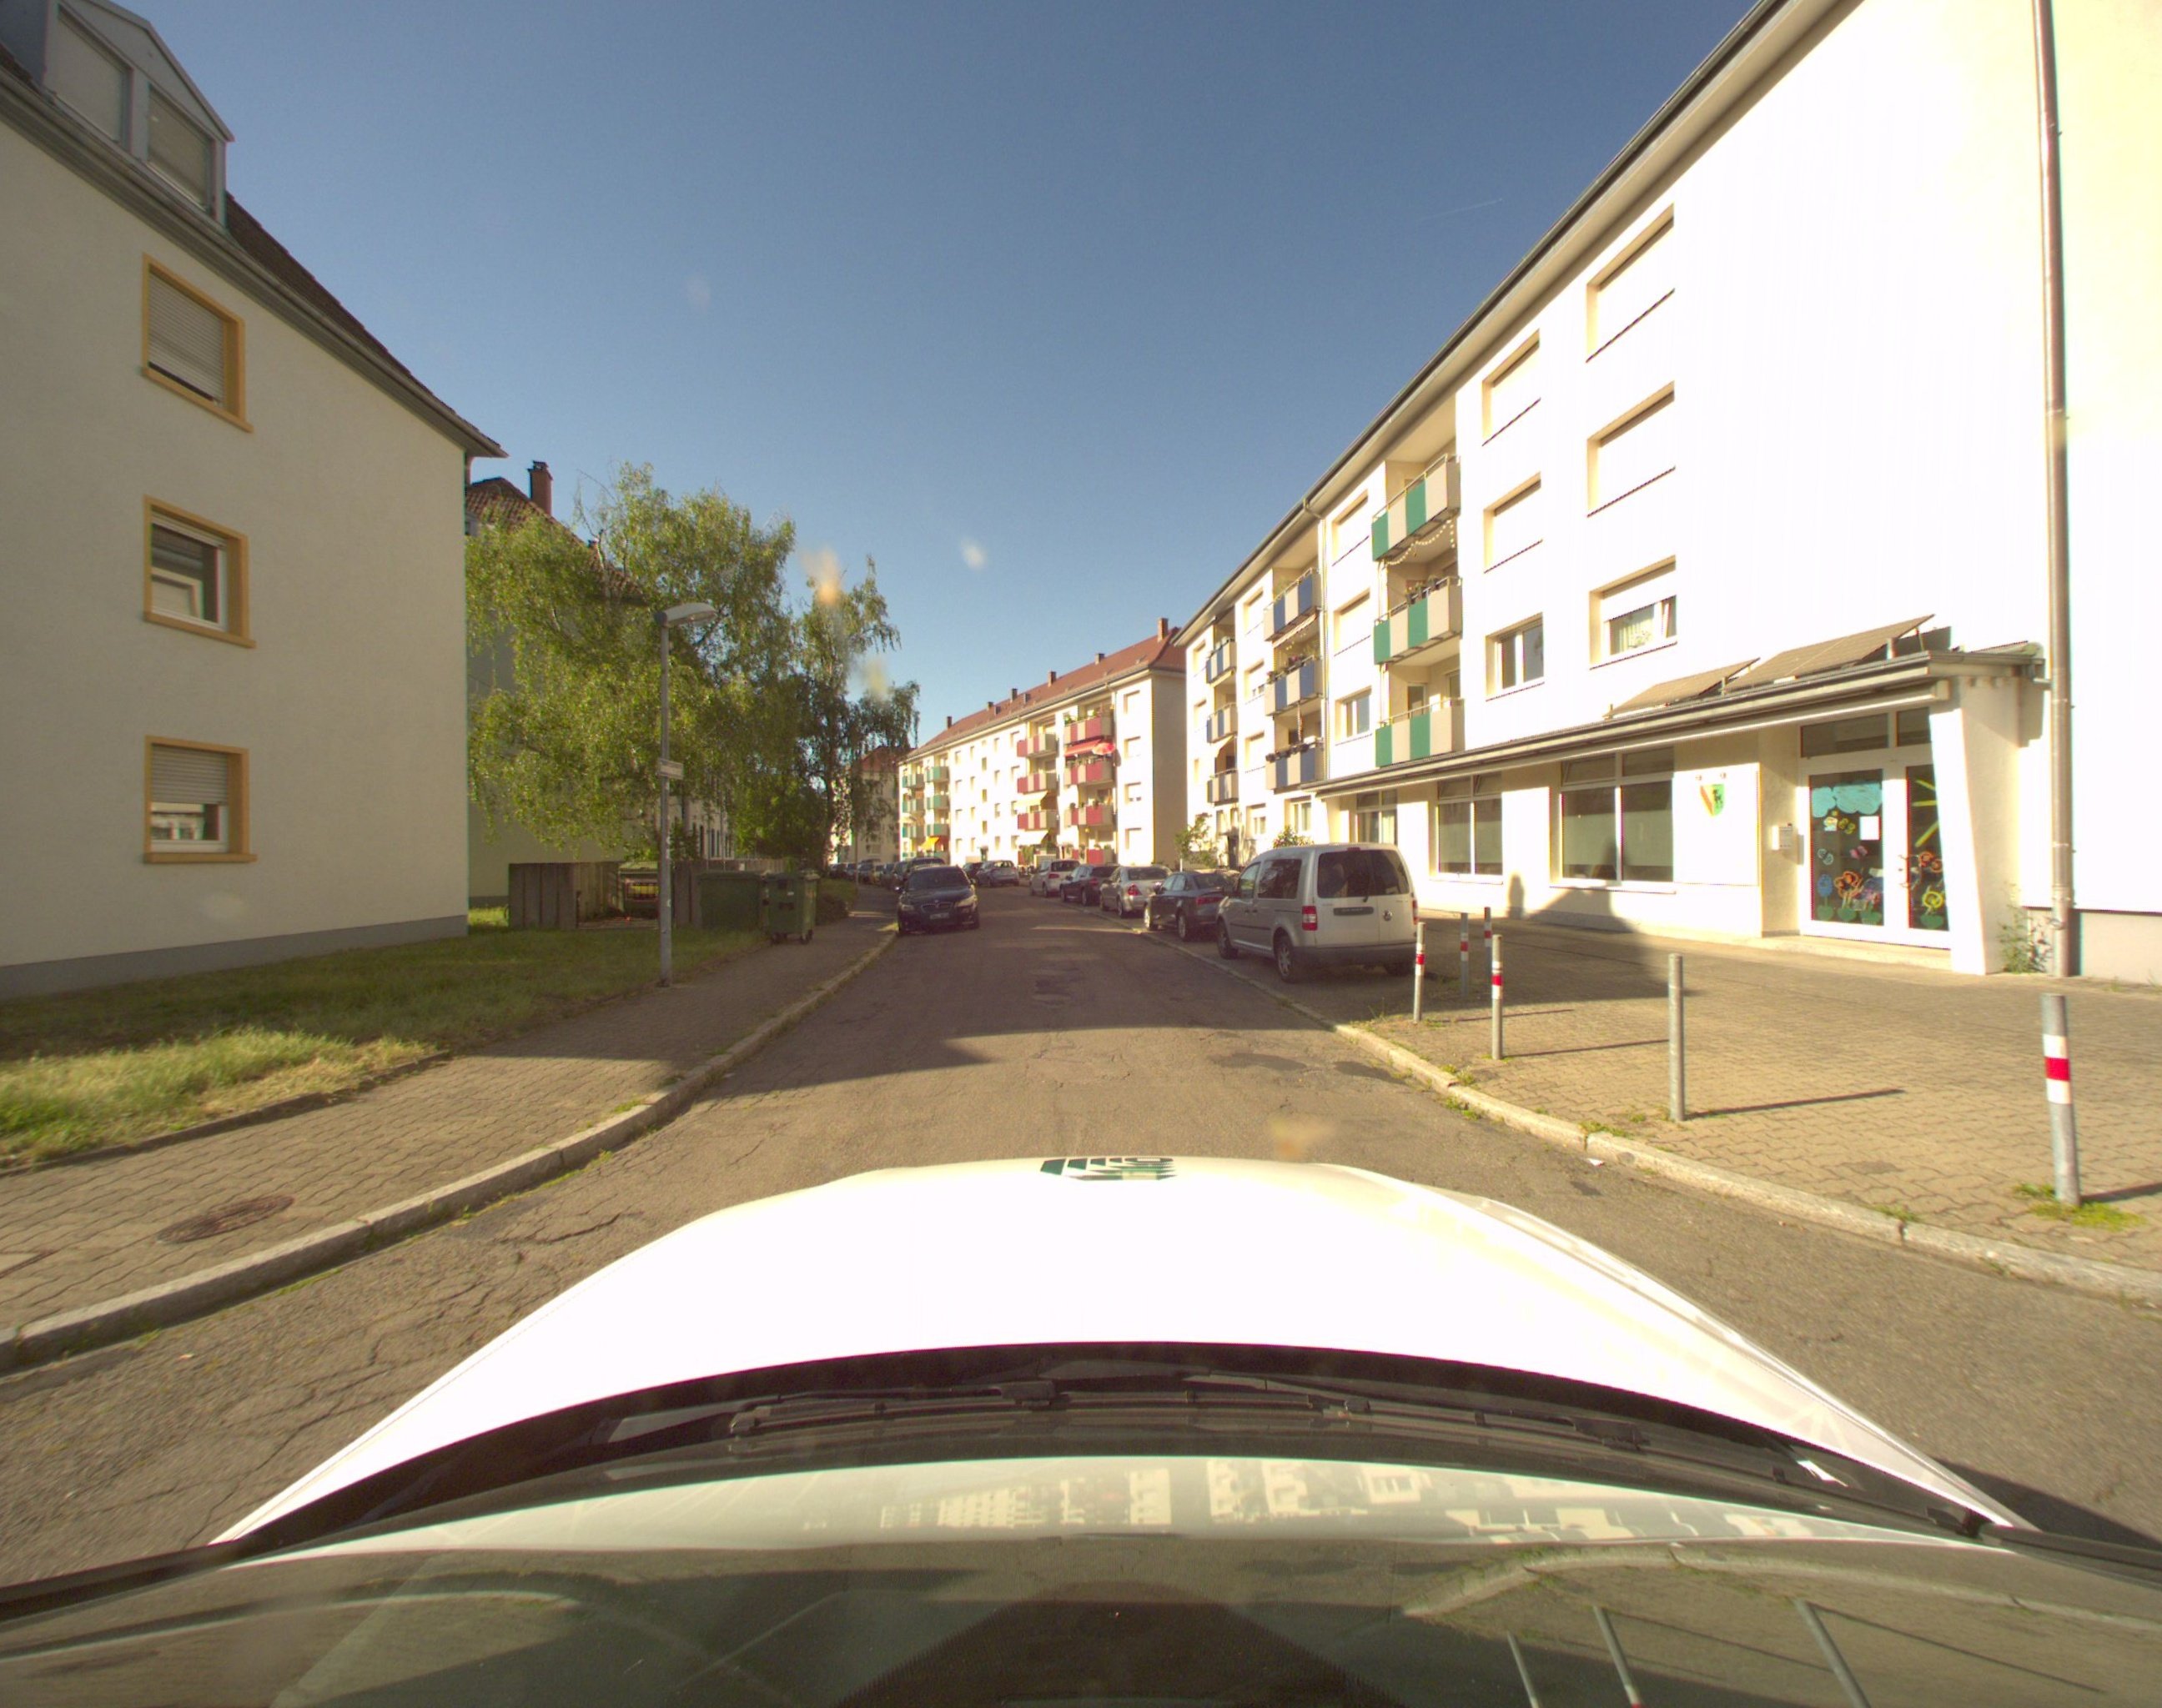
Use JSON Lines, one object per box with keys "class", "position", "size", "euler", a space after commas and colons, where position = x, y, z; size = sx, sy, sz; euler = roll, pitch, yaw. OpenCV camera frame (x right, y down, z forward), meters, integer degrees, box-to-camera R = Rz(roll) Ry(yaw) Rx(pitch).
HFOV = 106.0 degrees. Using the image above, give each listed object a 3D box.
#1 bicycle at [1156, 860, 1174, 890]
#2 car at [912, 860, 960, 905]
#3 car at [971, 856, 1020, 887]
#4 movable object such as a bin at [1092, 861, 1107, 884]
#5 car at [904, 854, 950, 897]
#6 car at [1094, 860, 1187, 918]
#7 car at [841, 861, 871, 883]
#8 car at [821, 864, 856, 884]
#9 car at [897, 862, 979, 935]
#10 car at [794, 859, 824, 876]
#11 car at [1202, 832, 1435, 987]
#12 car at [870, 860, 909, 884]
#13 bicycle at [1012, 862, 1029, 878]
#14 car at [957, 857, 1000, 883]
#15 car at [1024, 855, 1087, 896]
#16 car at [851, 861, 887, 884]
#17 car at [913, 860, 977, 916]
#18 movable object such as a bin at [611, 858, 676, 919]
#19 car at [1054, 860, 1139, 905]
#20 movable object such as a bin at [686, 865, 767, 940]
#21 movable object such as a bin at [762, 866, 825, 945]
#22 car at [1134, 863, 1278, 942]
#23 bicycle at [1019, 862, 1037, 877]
{"class": "bicycle", "position": [3.670, 0.900, 35.652], "size": [0.513, 1.202, 1.760], "euler": [-3, 0, -2]}
{"class": "car", "position": [-5.461, 1.001, 30.428], "size": [1.557, 1.442, 3.951], "euler": [-4, 0, -12]}
{"class": "car", "position": [-5.109, 0.999, 48.348], "size": [1.773, 1.635, 4.011], "euler": [-3, 2, -22]}
{"class": "movable object such as a bin", "position": [0.911, 0.910, 40.138], "size": [0.584, 1.056, 0.638], "euler": [-4, -1, -12]}
{"class": "car", "position": [-7.018, 0.946, 36.851], "size": [1.558, 1.714, 4.314], "euler": [-4, 0, -15]}
{"class": "car", "position": [1.622, 0.940, 23.870], "size": [1.678, 1.447, 4.709], "euler": [-1, 0, -9]}
{"class": "car", "position": [-17.062, 1.345, 61.752], "size": [1.486, 1.477, 3.601], "euler": [-5, 1, -25]}
{"class": "car", "position": [-19.813, 1.609, 66.433], "size": [1.754, 1.431, 4.556], "euler": [-4, 1, -28]}
{"class": "car", "position": [-3.445, 0.981, 20.044], "size": [1.677, 1.452, 4.607], "euler": [-4, 0, -8]}
{"class": "car", "position": [-25.283, 1.286, 75.593], "size": [1.670, 1.443, 3.831], "euler": [-3, 0, -33]}
{"class": "car", "position": [3.293, 0.684, 12.208], "size": [1.746, 1.824, 4.120], "euler": [-3, 0, -8]}
{"class": "car", "position": [-11.937, 1.100, 50.650], "size": [1.701, 1.389, 4.125], "euler": [-1, 0, -23]}
{"class": "bicycle", "position": [-4.235, 1.118, 56.969], "size": [0.500, 1.020, 1.826], "euler": [-3, 0, -26]}
{"class": "car", "position": [-6.732, 1.035, 53.050], "size": [1.743, 1.508, 3.856], "euler": [-4, 1, -23]}
{"class": "car", "position": [-1.207, 0.940, 36.292], "size": [1.698, 1.655, 4.365], "euler": [-2, 0, -16]}
{"class": "car", "position": [-14.884, 1.255, 56.949], "size": [1.577, 1.464, 4.225], "euler": [-3, 1, -26]}
{"class": "car", "position": [-4.273, 0.973, 25.191], "size": [1.679, 1.442, 4.262], "euler": [-4, 0, -12]}
{"class": "movable object such as a bin", "position": [-10.998, 0.844, 20.514], "size": [1.059, 1.435, 1.001], "euler": [-3, 0, -6]}
{"class": "car", "position": [0.466, 0.997, 29.640], "size": [1.698, 1.431, 4.661], "euler": [-2, 0, -17]}
{"class": "movable object such as a bin", "position": [-6.742, 0.905, 15.540], "size": [1.216, 1.380, 0.767], "euler": [0, 0, -1]}
{"class": "movable object such as a bin", "position": [-5.434, 0.938, 15.458], "size": [0.774, 1.393, 1.414], "euler": [-1, 0, -6]}
{"class": "car", "position": [2.552, 0.945, 17.765], "size": [1.678, 1.407, 4.529], "euler": [-1, 0, -11]}
{"class": "bicycle", "position": [-3.756, 1.102, 57.736], "size": [0.620, 0.978, 1.880], "euler": [-4, 3, -25]}
